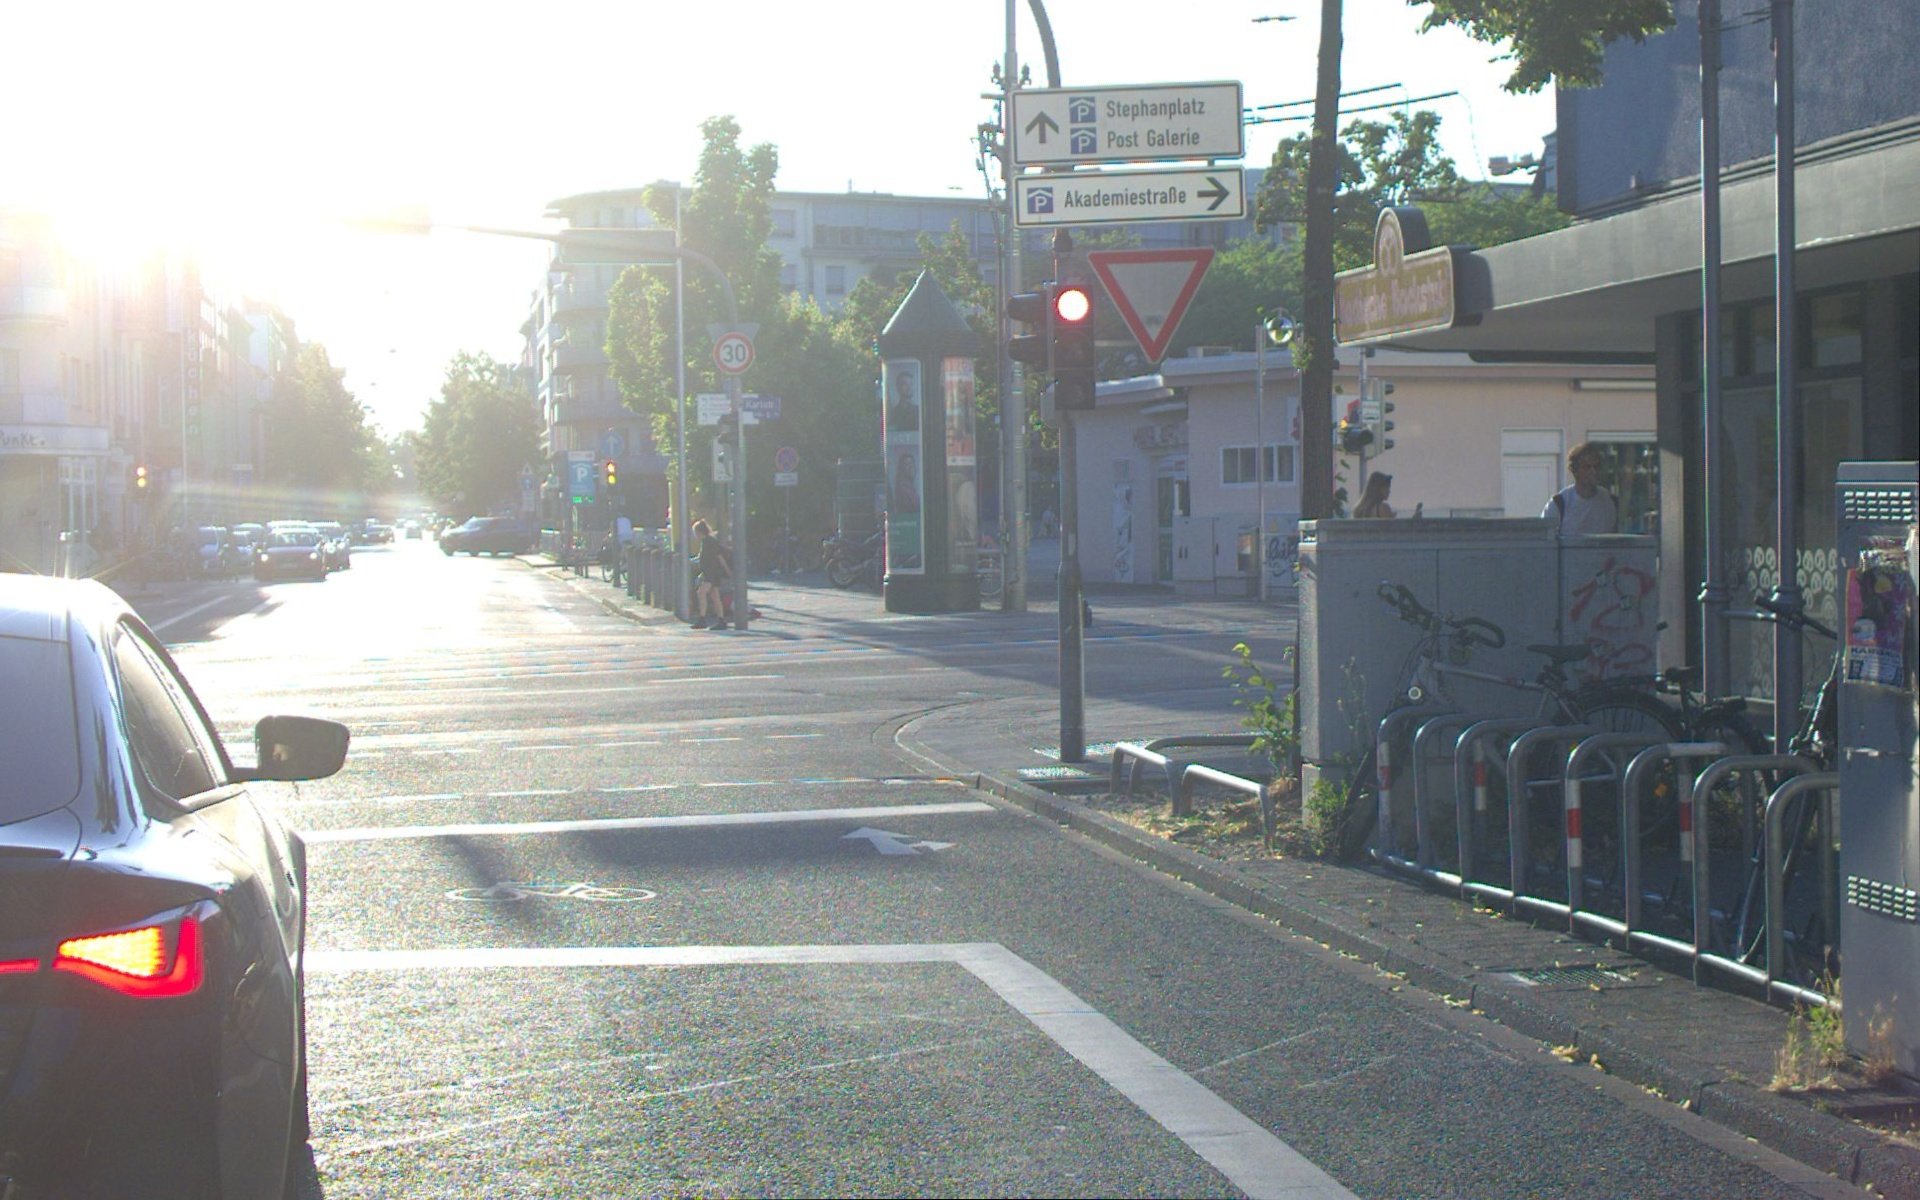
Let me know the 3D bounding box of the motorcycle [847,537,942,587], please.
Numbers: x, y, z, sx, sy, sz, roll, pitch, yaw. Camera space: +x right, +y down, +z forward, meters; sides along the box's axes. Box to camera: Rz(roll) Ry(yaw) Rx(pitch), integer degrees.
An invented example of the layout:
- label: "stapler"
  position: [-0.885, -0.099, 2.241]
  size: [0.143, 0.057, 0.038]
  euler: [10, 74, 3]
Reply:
- label: "motorcycle"
  position: [-1.297, -0.756, 67.908]
  size: [1.668, 0.935, 0.856]
  euler: [-1, 2, -19]

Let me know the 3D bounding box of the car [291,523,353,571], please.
- label: "car"
  position: [-20.995, -1.770, 113.249]
  size: [1.817, 1.514, 4.001]
  euler: [-1, 2, -8]

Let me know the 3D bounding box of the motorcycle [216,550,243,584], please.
- label: "motorcycle"
  position: [-19.916, -0.911, 93.774]
  size: [0.575, 0.912, 2.201]
  euler: [1, 1, -8]

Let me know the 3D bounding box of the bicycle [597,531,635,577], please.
- label: "bicycle"
  position: [-8.850, -1.183, 88.427]
  size: [0.550, 1.155, 2.145]
  euler: [0, 1, -17]

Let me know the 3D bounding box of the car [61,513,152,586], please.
- label: "car"
  position: [-21.593, -1.296, 87.107]
  size: [1.817, 1.782, 4.001]
  euler: [-1, 2, -8]

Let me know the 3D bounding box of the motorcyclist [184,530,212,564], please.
- label: "motorcyclist"
  position: [-20.854, -1.460, 94.140]
  size: [0.575, 0.912, 2.201]
  euler: [1, 1, -8]

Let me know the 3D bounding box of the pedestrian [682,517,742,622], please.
- label: "pedestrian"
  position: [-3.634, -0.447, 50.300]
  size: [0.732, 1.524, 0.473]
  euler: [0, 1, -25]

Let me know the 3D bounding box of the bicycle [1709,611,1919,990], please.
- label: "bicycle"
  position: [3.244, 0.655, 11.349]
  size: [1.440, 1.216, 0.383]
  euler: [1, 1, -7]

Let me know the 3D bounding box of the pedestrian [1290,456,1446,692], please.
- label: "pedestrian"
  position: [3.351, -0.224, 28.255]
  size: [1.001, 1.854, 0.640]
  euler: [-5, 3, -28]

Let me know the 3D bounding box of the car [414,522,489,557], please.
- label: "car"
  position: [-23.721, -2.839, 160.446]
  size: [1.819, 1.514, 3.997]
  euler: [-1, 2, 18]

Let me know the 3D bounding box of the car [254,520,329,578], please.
- label: "car"
  position: [-18.383, -1.420, 94.622]
  size: [1.817, 1.514, 4.001]
  euler: [-1, 2, -8]

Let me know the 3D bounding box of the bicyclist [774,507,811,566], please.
- label: "bicyclist"
  position: [-4.312, -1.643, 88.650]
  size: [0.884, 1.500, 0.612]
  euler: [1, 1, 3]

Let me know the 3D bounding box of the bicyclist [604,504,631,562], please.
- label: "bicyclist"
  position: [-8.781, -1.704, 88.199]
  size: [0.550, 1.476, 0.723]
  euler: [0, 0, -17]

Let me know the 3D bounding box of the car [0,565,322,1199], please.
- label: "car"
  position: [-2.124, 0.669, 6.500]
  size: [1.736, 1.424, 4.225]
  euler: [0, 1, -10]

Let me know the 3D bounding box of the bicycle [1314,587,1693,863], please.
- label: "bicycle"
  position: [2.394, 0.542, 15.163]
  size: [1.612, 1.167, 0.318]
  euler: [-1, 1, -6]

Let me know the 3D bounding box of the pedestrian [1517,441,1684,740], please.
- label: "pedestrian"
  position: [4.031, -0.071, 21.669]
  size: [0.835, 1.835, 0.679]
  euler: [-1, 1, -8]

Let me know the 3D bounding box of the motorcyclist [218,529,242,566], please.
- label: "motorcyclist"
  position: [-19.889, -1.438, 93.667]
  size: [0.575, 0.992, 0.703]
  euler: [1, 1, -8]

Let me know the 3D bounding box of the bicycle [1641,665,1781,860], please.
- label: "bicycle"
  position: [3.333, 0.707, 15.310]
  size: [0.249, 0.793, 1.116]
  euler: [1, 1, -7]

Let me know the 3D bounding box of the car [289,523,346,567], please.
- label: "car"
  position: [-23.012, -1.990, 123.228]
  size: [1.817, 1.514, 4.001]
  euler: [-1, 2, -8]

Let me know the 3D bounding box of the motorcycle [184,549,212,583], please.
- label: "motorcycle"
  position: [-20.865, -0.930, 94.147]
  size: [0.575, 0.912, 2.201]
  euler: [1, 1, -8]
